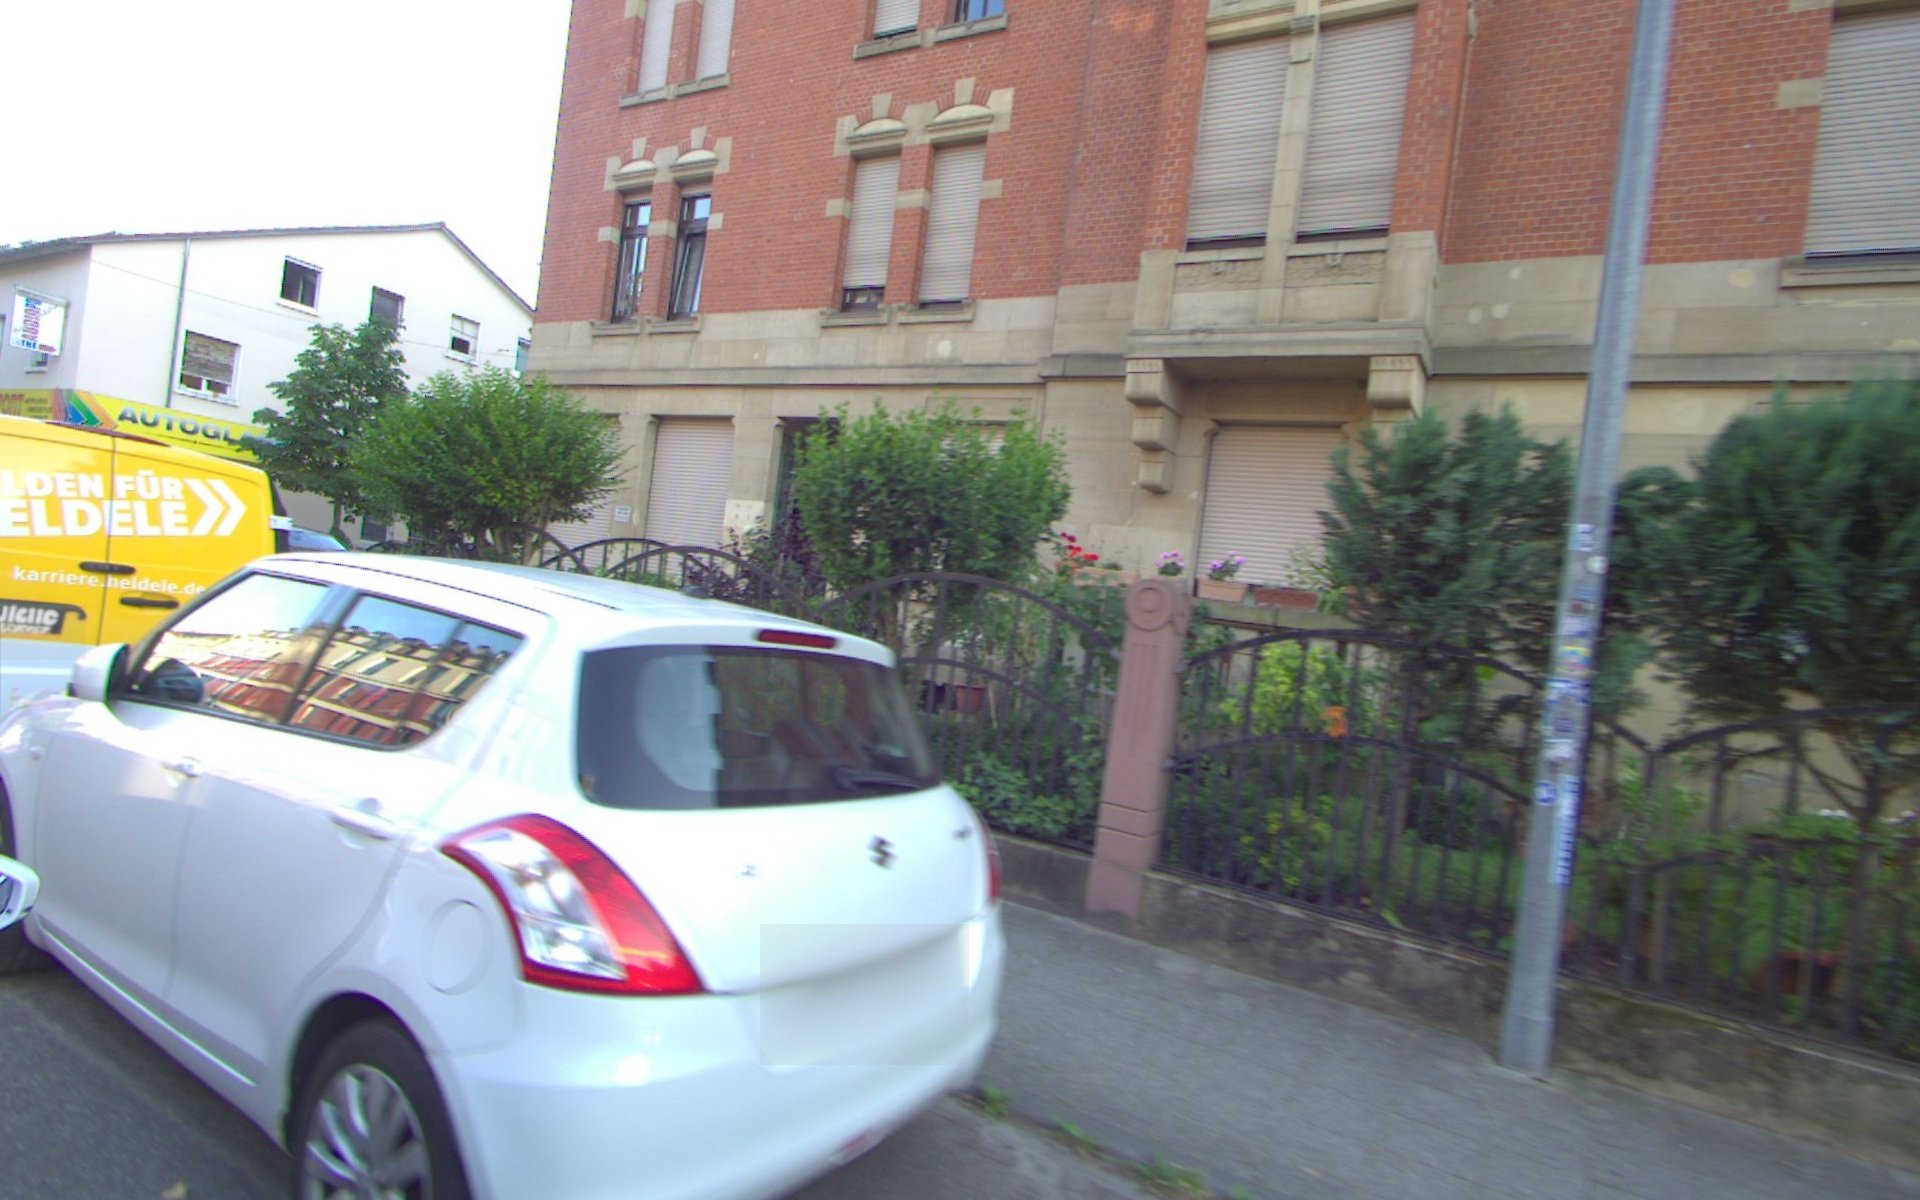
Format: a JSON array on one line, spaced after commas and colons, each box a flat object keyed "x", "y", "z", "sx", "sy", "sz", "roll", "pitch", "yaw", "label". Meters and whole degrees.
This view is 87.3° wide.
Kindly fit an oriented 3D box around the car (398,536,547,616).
[{"x": -15.427, "y": -0.759, "z": 31.777, "sx": 4.499, "sy": 1.854, "sz": 1.876, "roll": 8, "pitch": 1, "yaw": 30, "label": "car"}]

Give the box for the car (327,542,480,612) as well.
[{"x": -16.519, "y": -0.689, "z": 29.813, "sx": 4.494, "sy": 1.528, "sz": 1.744, "roll": 7, "pitch": 0, "yaw": 29, "label": "car"}]

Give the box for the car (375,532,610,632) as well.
[{"x": -10.102, "y": -0.318, "z": 22.115, "sx": 1.847, "sy": 1.692, "sz": 4.327, "roll": 5, "pitch": -1, "yaw": 29, "label": "car"}]

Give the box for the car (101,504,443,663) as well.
[{"x": -8.591, "y": -0.233, "z": 12.471, "sx": 4.348, "sy": 1.442, "sz": 1.728, "roll": 7, "pitch": 1, "yaw": 30, "label": "car"}]

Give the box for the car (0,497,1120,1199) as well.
[{"x": -1.657, "y": 0.620, "z": 3.209, "sx": 3.799, "sy": 1.494, "sz": 1.677, "roll": 7, "pitch": -1, "yaw": 34, "label": "car"}]

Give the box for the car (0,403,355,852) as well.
[{"x": -6.000, "y": -0.086, "z": 5.915, "sx": 4.996, "sy": 1.906, "sz": 1.897, "roll": 7, "pitch": -1, "yaw": 31, "label": "car"}]
